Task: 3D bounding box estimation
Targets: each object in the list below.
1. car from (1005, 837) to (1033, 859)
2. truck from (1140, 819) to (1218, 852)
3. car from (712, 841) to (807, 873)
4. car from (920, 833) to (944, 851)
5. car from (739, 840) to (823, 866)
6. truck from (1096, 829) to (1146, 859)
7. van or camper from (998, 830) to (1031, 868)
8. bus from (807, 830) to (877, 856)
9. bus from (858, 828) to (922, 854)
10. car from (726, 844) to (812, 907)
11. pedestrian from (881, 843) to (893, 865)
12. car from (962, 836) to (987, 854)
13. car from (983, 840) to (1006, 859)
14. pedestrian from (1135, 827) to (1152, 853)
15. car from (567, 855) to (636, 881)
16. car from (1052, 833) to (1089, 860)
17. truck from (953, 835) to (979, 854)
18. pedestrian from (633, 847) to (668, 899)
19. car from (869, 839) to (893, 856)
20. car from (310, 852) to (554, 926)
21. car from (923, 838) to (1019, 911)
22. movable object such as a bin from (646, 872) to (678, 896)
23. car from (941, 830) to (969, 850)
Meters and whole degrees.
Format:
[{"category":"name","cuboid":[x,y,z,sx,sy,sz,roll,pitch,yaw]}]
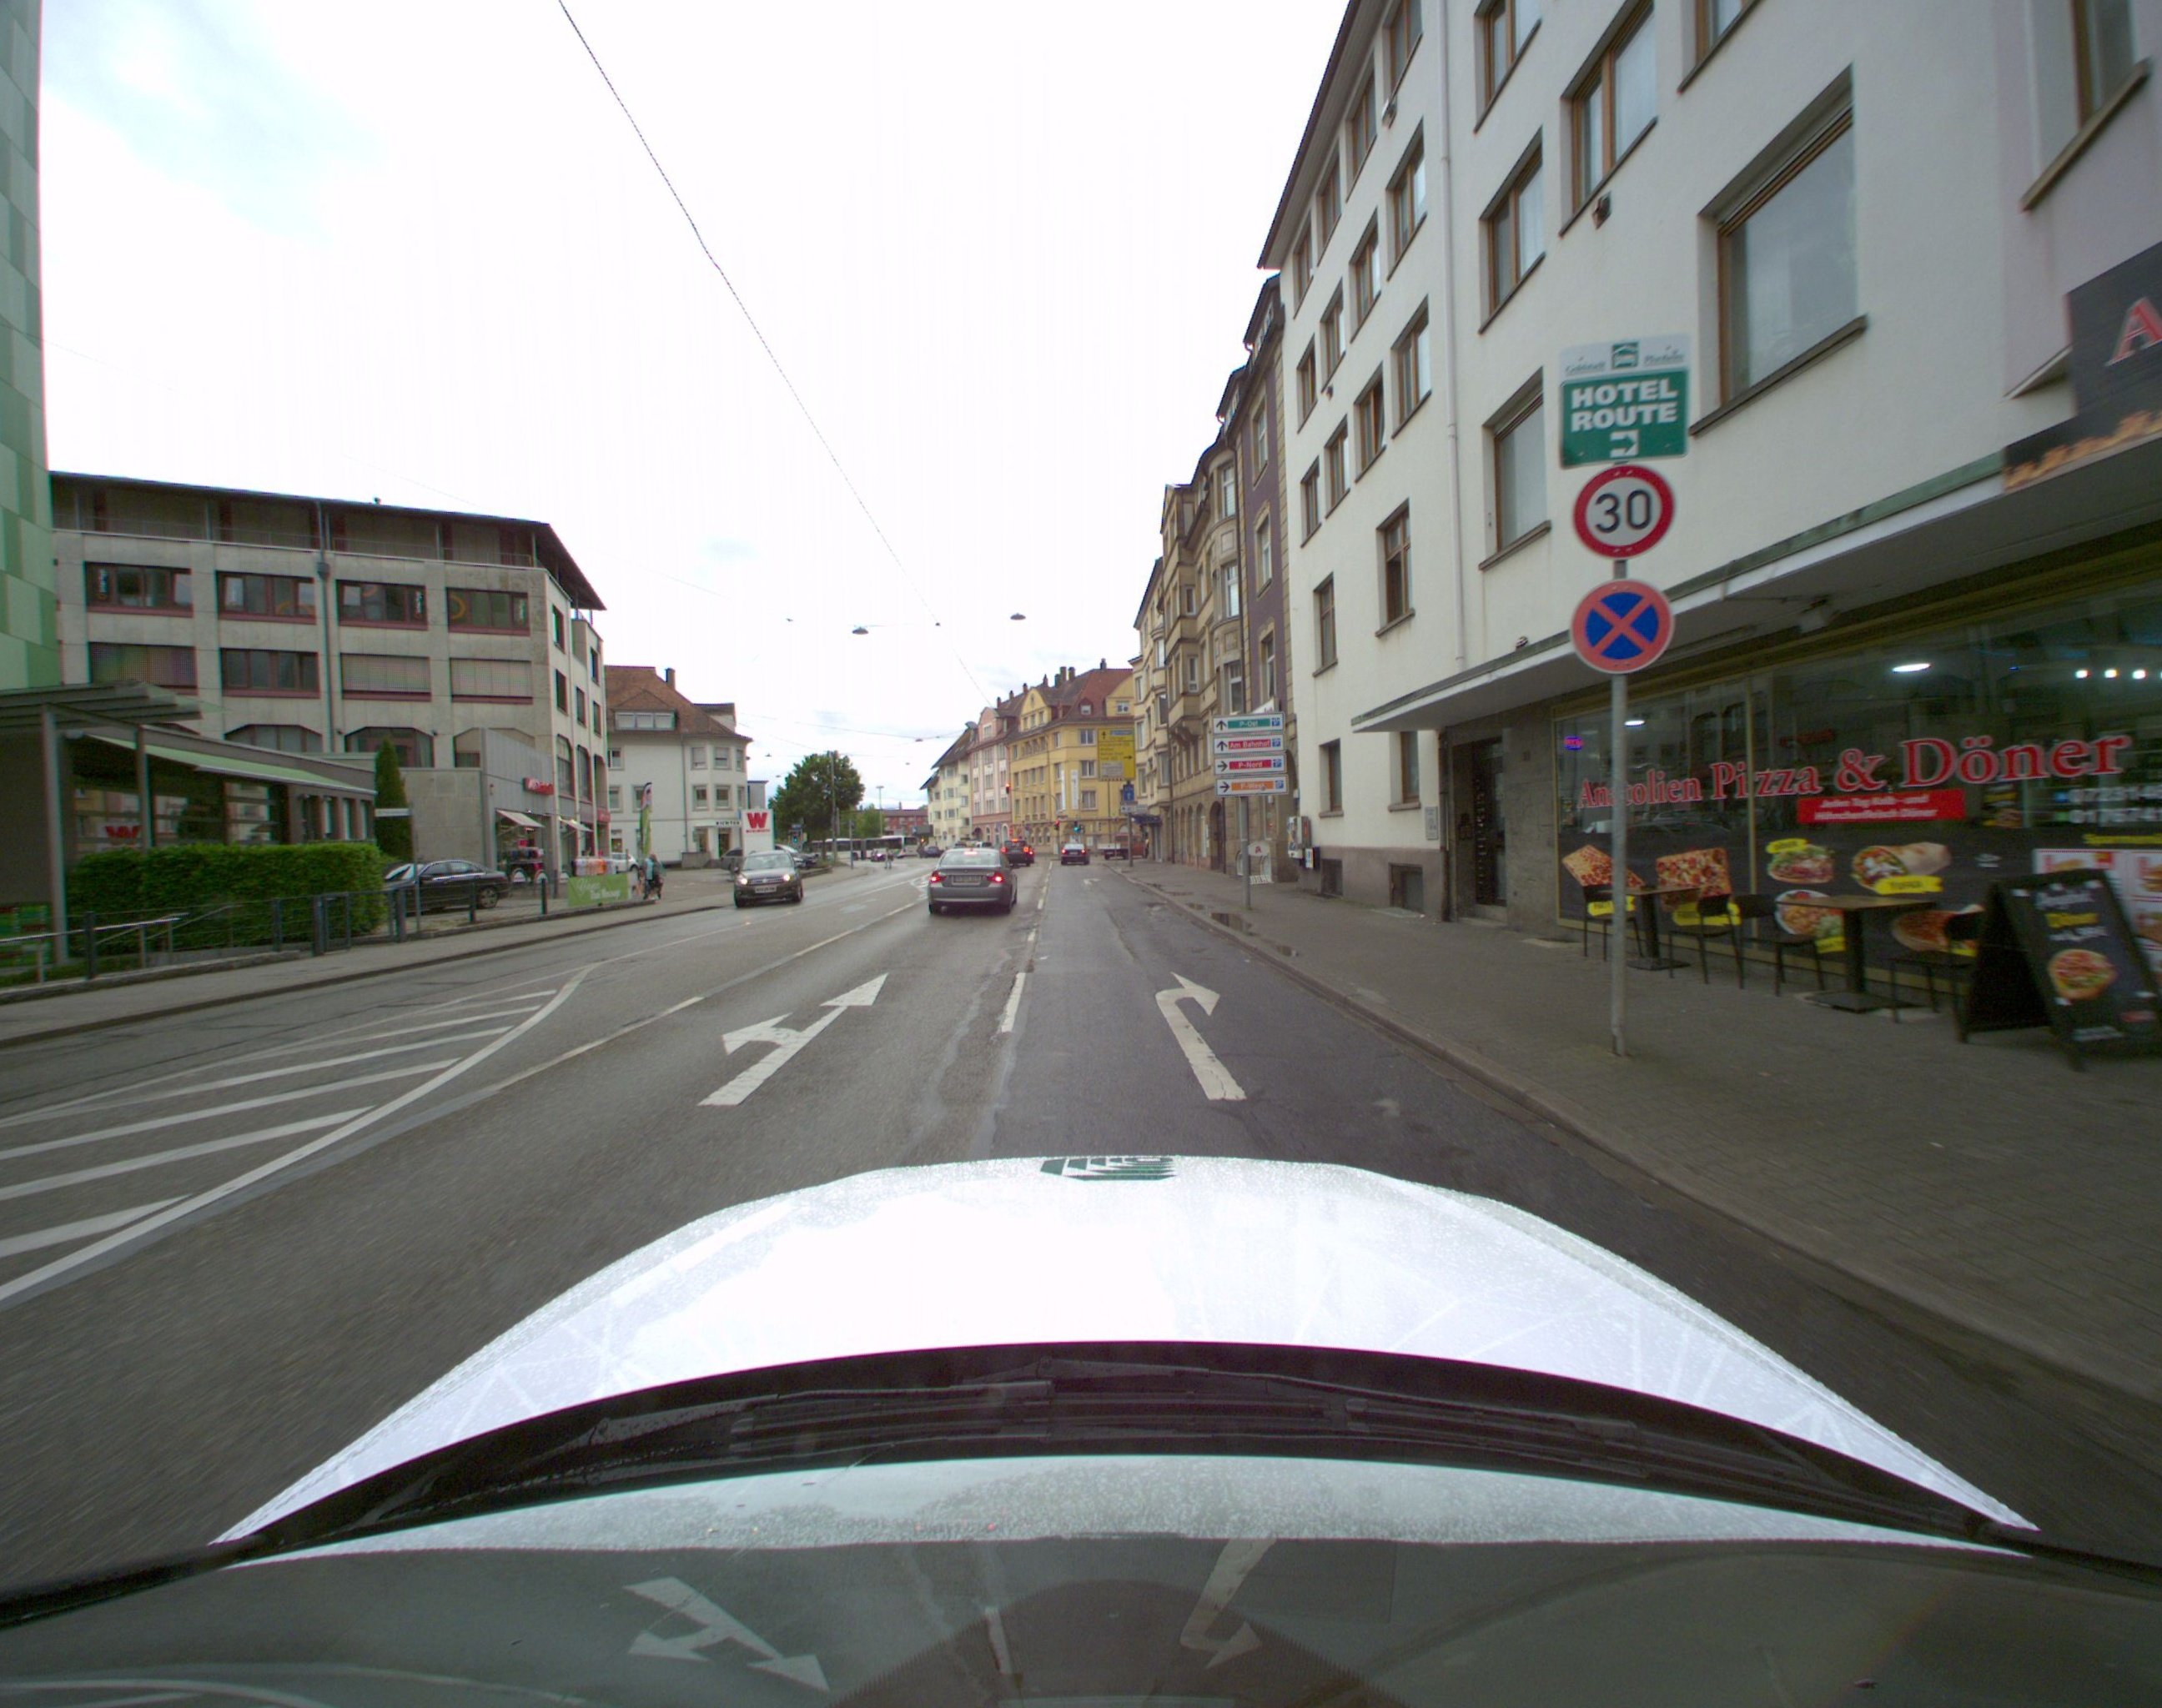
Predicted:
[{"category":"car","cuboid":[-4.341,-0.431,56.698,1.800,1.405,4.676,-1,1,-5]},{"category":"truck","cuboid":[9.310,-1.785,77.797,7.074,2.851,2.081,-2,1,-3]},{"category":"car","cuboid":[-17.686,0.155,45.001,4.442,1.526,1.881,-3,1,-8]},{"category":"car","cuboid":[-17.646,-1.459,96.321,2.003,2.013,3.969,-3,2,-23]},{"category":"car","cuboid":[-18.484,-0.089,50.285,4.396,1.506,1.957,-1,2,6]},{"category":"truck","cuboid":[3.225,-0.844,64.317,2.204,2.249,5.092,-1,2,24]},{"category":"van or camper","cuboid":[-4.072,-0.347,49.877,1.852,2.146,4.136,-3,1,-5]},{"category":"bus","cuboid":[-32.420,-1.457,110.439,8.772,3.104,2.932,-2,2,18]},{"category":"bus","cuboid":[-25.094,-1.668,106.749,9.024,3.104,2.937,-1,2,36]},{"category":"car","cuboid":[-9.472,0.566,25.002,1.951,1.659,4.037,-3,2,-15]},{"category":"pedestrian","cuboid":[-13.800,-0.009,57.978,0.764,1.529,0.504,-1,0,-23]},{"category":"car","cuboid":[-12.901,-1.127,98.328,1.772,2.180,3.965,0,1,-27]},{"category":"car","cuboid":[-8.748,-0.444,82.743,1.988,1.815,3.997,-2,1,-2]},{"category":"pedestrian","cuboid":[4.705,-1.054,61.235,1.049,1.903,1.030,-1,2,18]},{"category":"car","cuboid":[-29.930,0.864,50.951,1.567,1.500,3.773,-2,-1,13]},{"category":"car","cuboid":[-0.717,-0.495,51.948,1.798,1.563,3.989,-2,1,-8]},{"category":"truck","cuboid":[-14.666,-1.269,103.892,2.037,2.389,4.200,0,1,-27]},{"category":"pedestrian","cuboid":[-14.535,0.624,27.492,0.745,1.685,0.752,-1,2,43]},{"category":"car","cuboid":[-21.690,-0.714,88.064,1.853,1.683,3.969,-2,1,-23]},{"category":"car","cuboid":[-15.861,0.771,20.326,1.984,1.438,4.661,-2,2,6]},{"category":"car","cuboid":[-2.390,0.370,18.651,1.795,1.464,4.367,0,1,-3]},{"category":"movable object such as a bin","cuboid":[-14.492,1.022,28.155,0.745,0.788,0.738,-1,1,43]},{"category":"car","cuboid":[-13.329,-1.484,85.858,2.002,2.013,3.970,-3,2,-23]}]
